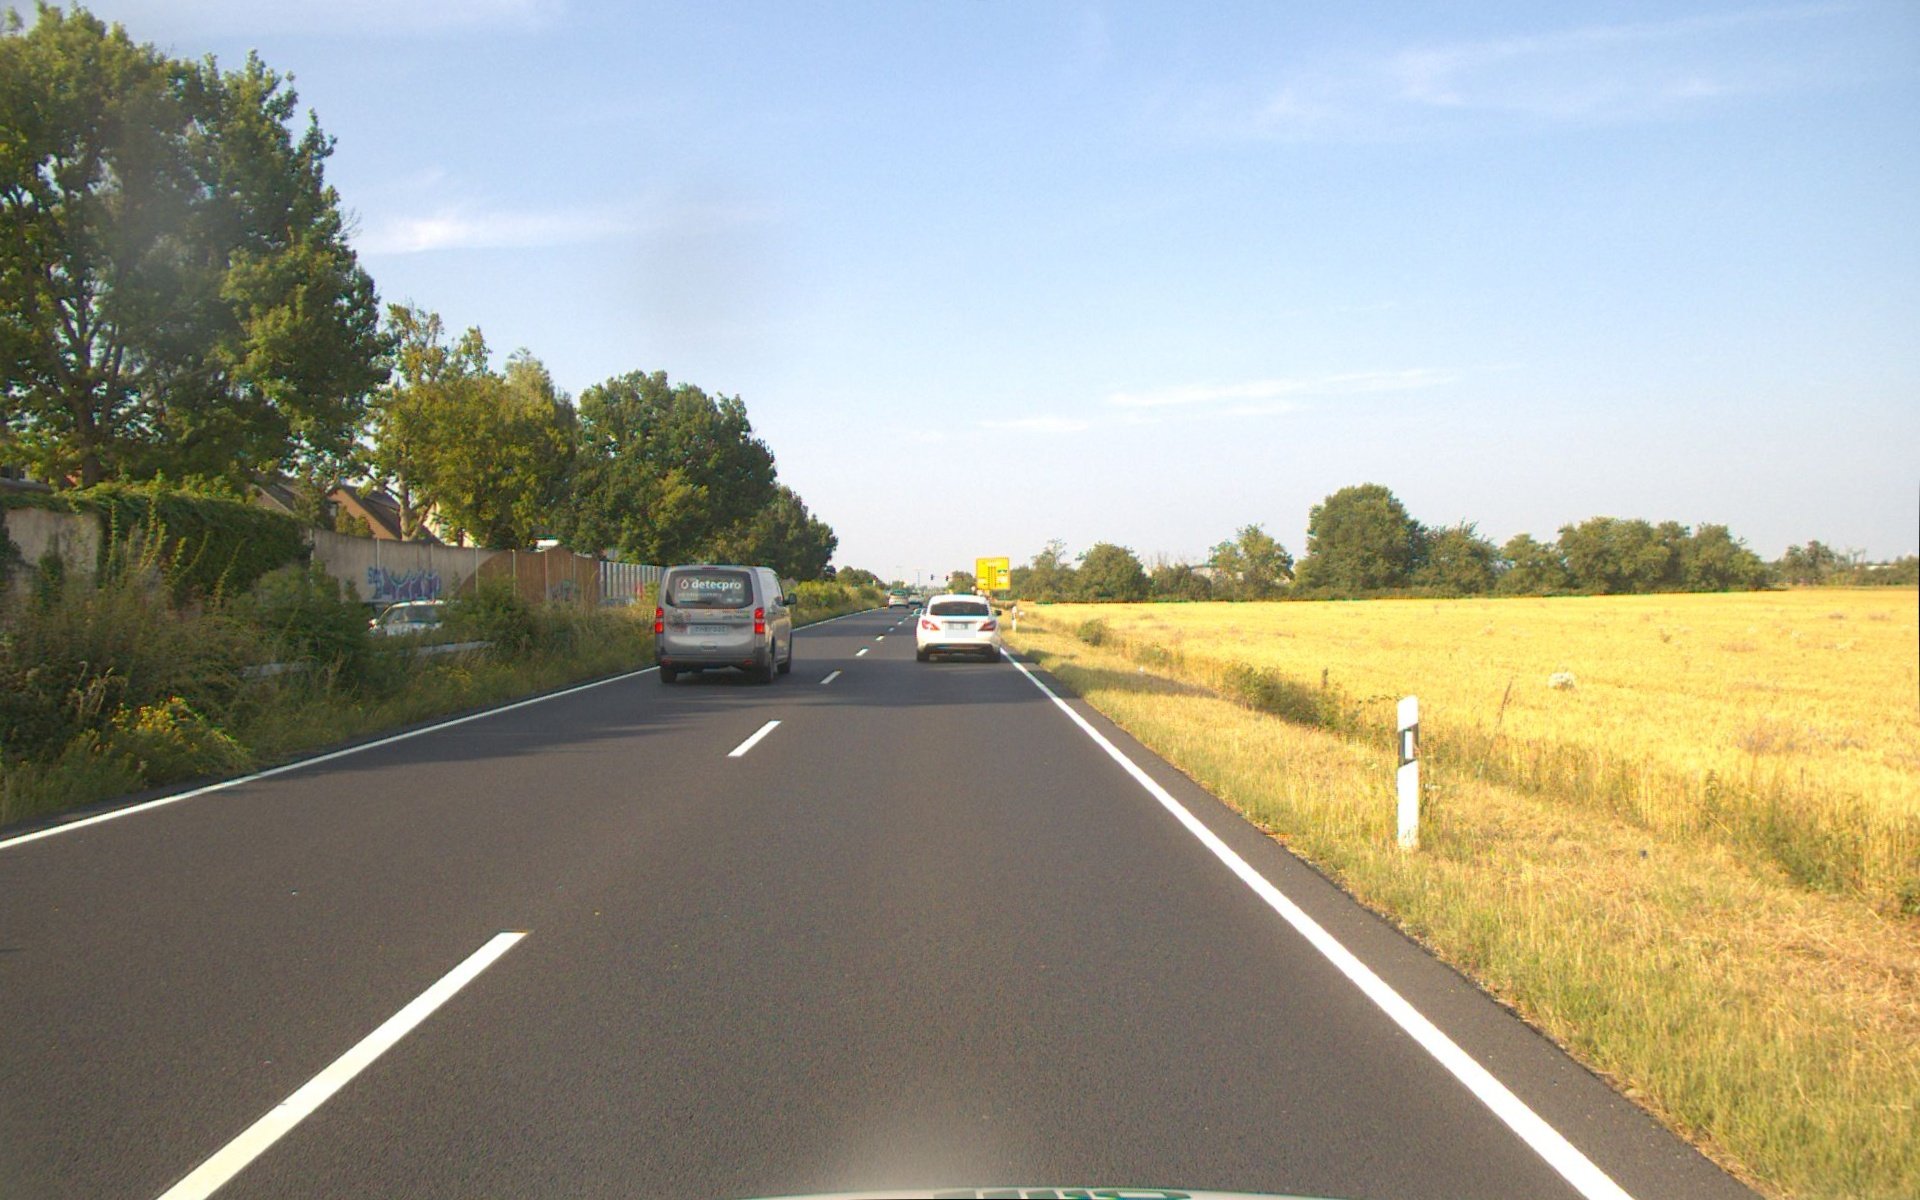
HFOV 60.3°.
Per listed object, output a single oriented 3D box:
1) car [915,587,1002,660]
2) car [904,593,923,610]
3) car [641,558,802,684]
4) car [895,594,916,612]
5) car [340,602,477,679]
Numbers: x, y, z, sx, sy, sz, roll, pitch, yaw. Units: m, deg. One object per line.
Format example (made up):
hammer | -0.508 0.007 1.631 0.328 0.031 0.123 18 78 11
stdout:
car | -0.059 0.502 36.971 1.856 1.535 3.999 0 0 -1
car | -4.751 0.117 167.570 1.839 1.680 3.662 1 0 -2
car | -3.950 0.304 28.201 1.984 1.925 4.958 1 0 0
car | -4.639 0.257 141.075 1.682 1.518 3.584 1 0 0
car | -11.516 0.807 34.767 1.659 1.514 3.672 1 0 -1
